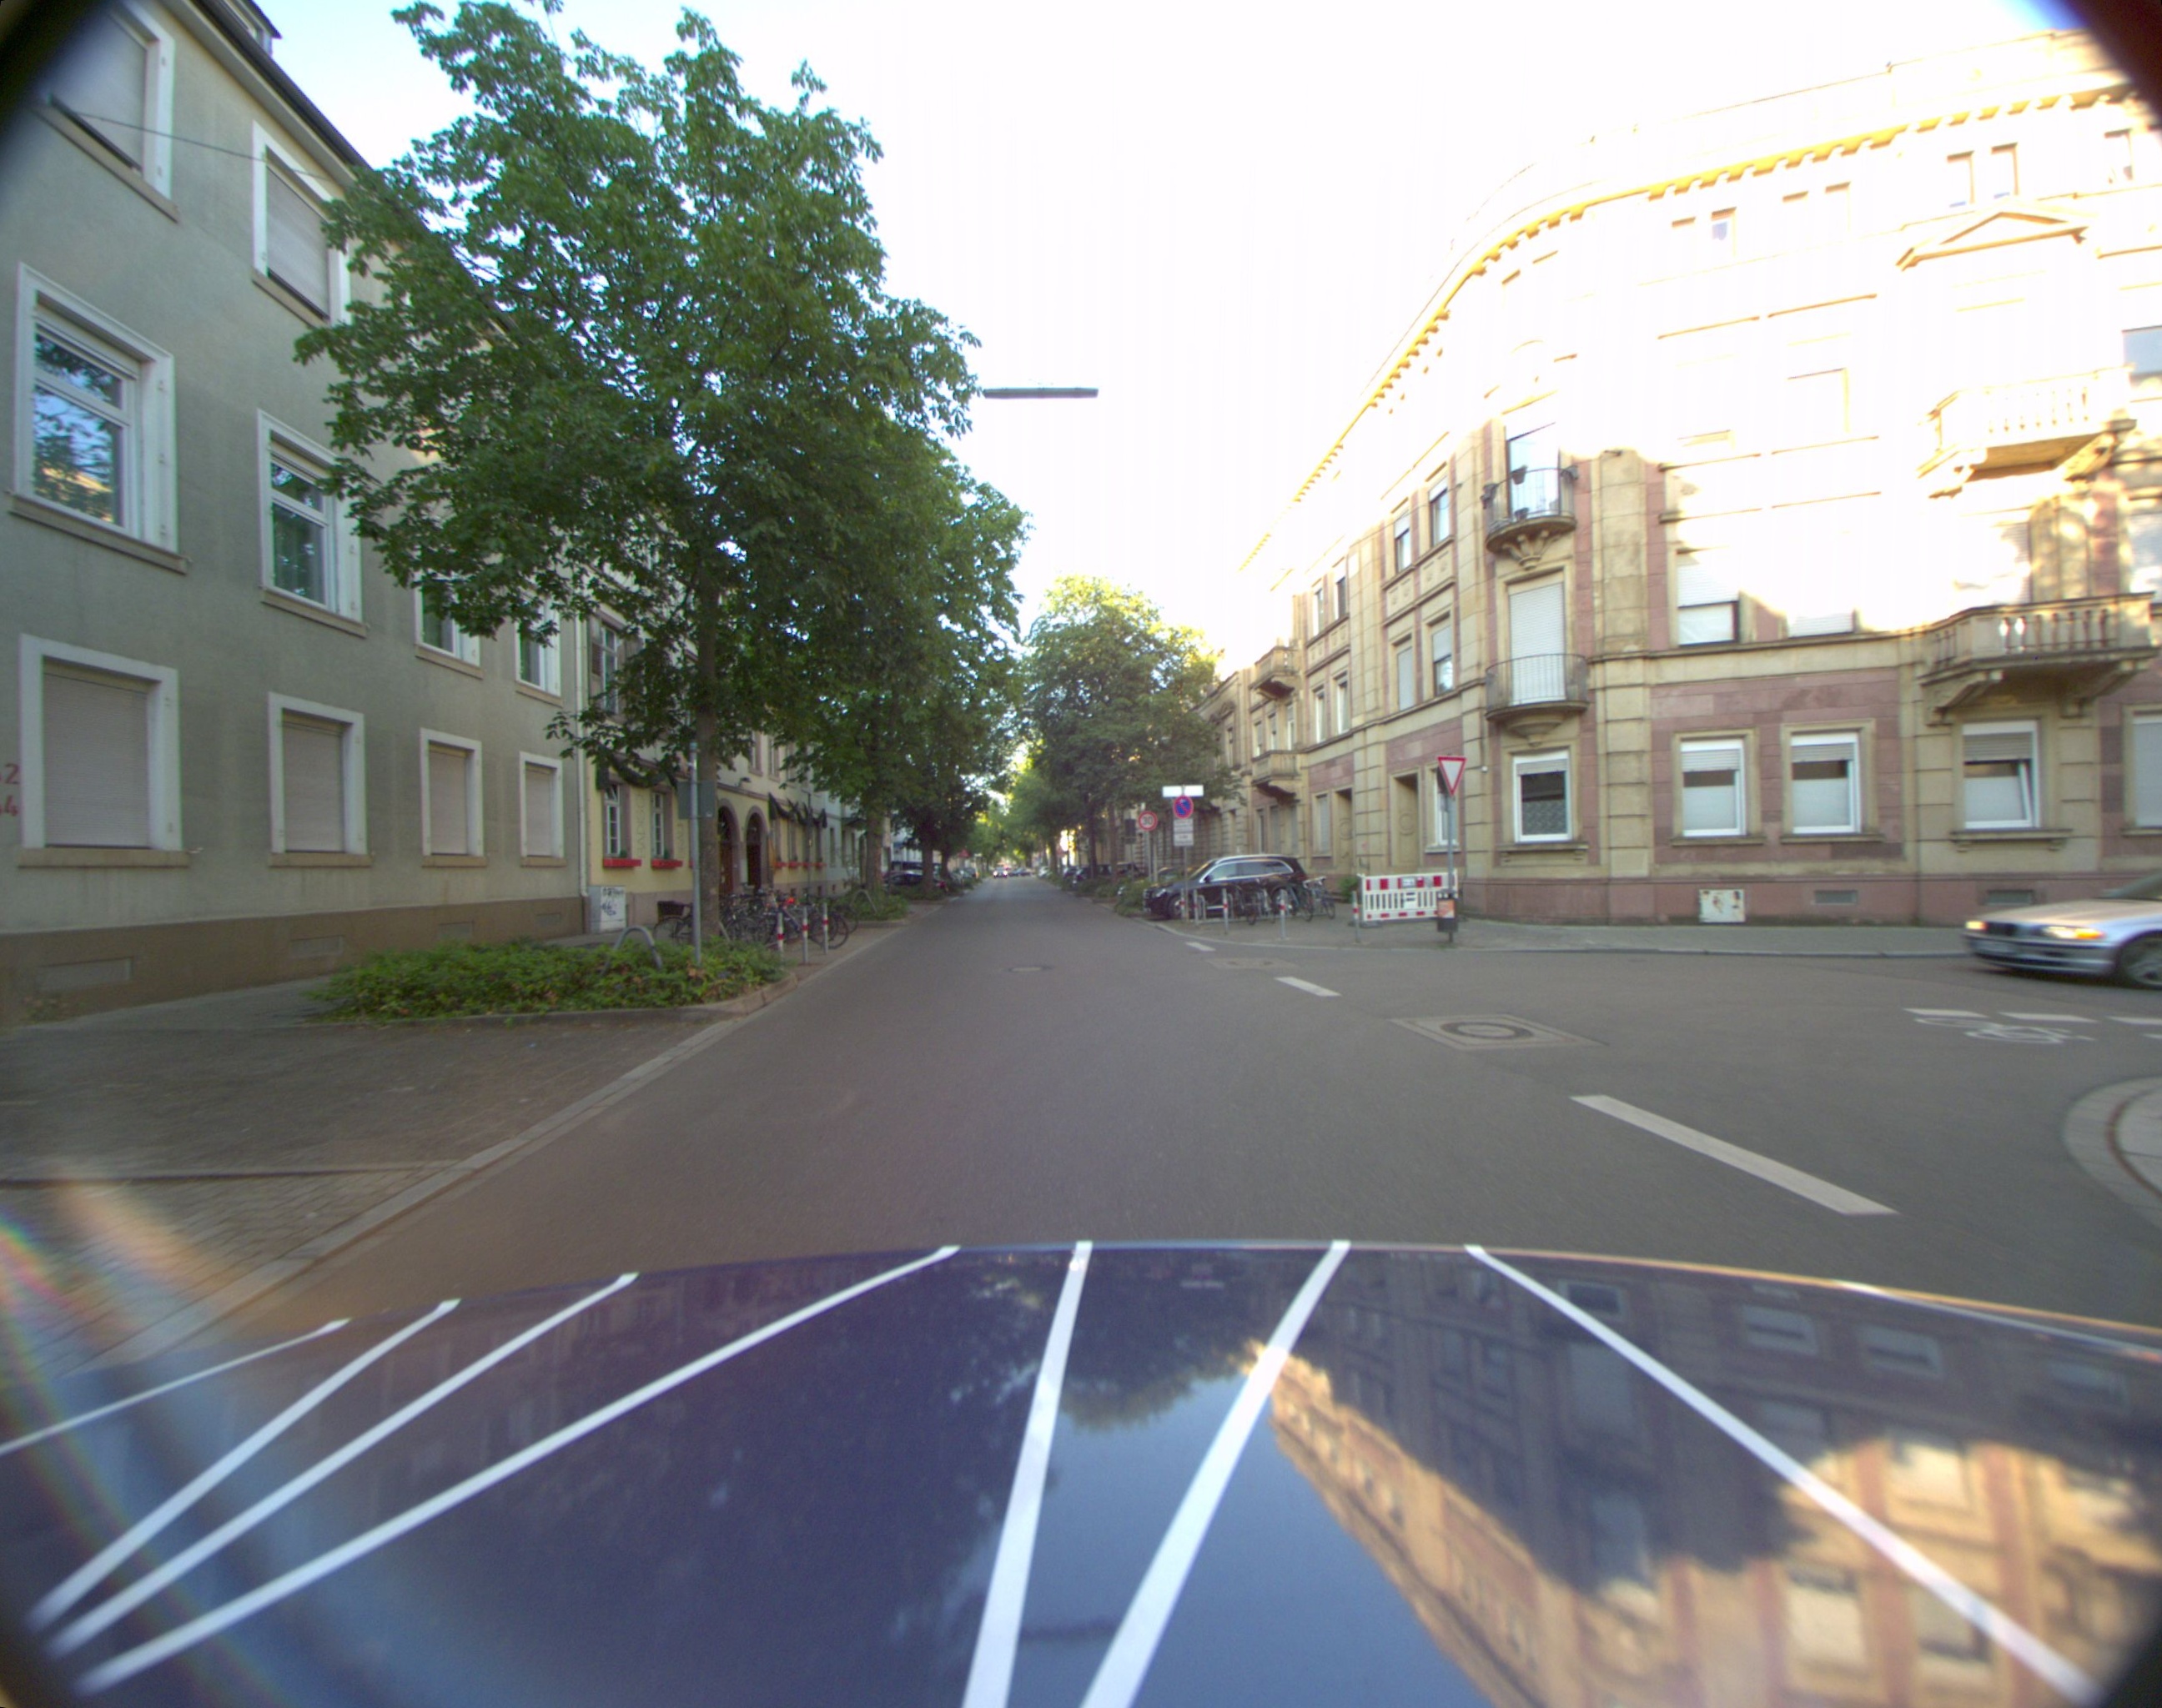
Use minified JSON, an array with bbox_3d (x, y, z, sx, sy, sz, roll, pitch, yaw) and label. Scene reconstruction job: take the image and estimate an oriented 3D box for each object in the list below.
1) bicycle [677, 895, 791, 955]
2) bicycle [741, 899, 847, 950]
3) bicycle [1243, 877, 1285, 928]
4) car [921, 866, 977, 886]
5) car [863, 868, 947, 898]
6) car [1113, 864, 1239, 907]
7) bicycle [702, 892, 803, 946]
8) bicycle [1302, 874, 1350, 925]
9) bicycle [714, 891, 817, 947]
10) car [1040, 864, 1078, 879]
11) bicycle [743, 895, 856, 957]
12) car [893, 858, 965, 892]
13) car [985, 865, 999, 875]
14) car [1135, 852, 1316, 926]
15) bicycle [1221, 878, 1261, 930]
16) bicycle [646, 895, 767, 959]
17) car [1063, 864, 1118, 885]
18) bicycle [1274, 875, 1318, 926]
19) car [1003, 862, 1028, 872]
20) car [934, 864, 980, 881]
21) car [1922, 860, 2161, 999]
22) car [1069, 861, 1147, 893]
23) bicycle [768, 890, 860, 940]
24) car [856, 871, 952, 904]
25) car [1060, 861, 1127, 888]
[{"bbox_3d":[-6.991,1.424,15.359,2.042,1.139,0.421,-1,0,-6],"label":"bicycle"},{"bbox_3d":[-6.073,1.487,16.147,2.042,0.998,0.421,-1,0,-6],"label":"bicycle"},{"bbox_3d":[4.412,1.139,18.427,0.364,1.083,1.869,-3,1,-5],"label":"bicycle"},{"bbox_3d":[-11.025,1.828,63.869,4.444,1.603,1.776,-1,-1,-4],"label":"car"},{"bbox_3d":[-10.079,1.660,43.651,4.444,1.603,1.776,-1,-1,-4],"label":"car"},{"bbox_3d":[3.554,1.175,28.889,4.444,1.478,1.776,-1,-1,-4],"label":"car"},{"bbox_3d":[-7.446,1.461,17.262,2.042,1.139,0.421,-1,0,-6],"label":"bicycle"},{"bbox_3d":[5.865,1.057,18.274,0.364,1.083,1.869,-3,1,-5],"label":"bicycle"},{"bbox_3d":[-6.886,1.419,16.639,2.042,1.139,0.421,-1,0,-6],"label":"bicycle"},{"bbox_3d":[-2.621,2.026,90.155,4.444,1.638,1.776,-1,-1,-4],"label":"car"},{"bbox_3d":[-5.537,1.406,15.008,2.041,1.139,0.446,-1,0,-4],"label":"bicycle"},{"bbox_3d":[-10.067,1.378,50.636,4.444,2.110,1.776,-1,0,-4],"label":"car"},{"bbox_3d":[-13.015,2.353,111.475,1.828,1.364,3.998,-1,-1,-5],"label":"car"},{"bbox_3d":[3.940,0.927,21.178,4.590,1.728,1.776,-3,1,-4],"label":"car"},{"bbox_3d":[3.807,1.168,18.164,0.364,1.083,1.869,-3,1,-5],"label":"bicycle"},{"bbox_3d":[-7.107,1.382,14.472,2.041,1.139,0.446,-1,0,-2],"label":"bicycle"},{"bbox_3d":[0.702,1.543,57.600,4.032,1.474,1.776,-1,-1,-4],"label":"car"},{"bbox_3d":[5.139,1.097,18.258,0.364,1.083,1.869,-3,1,-5],"label":"bicycle"},{"bbox_3d":[-10.427,2.048,121.640,1.772,1.523,4.029,-2,-1,34],"label":"car"},{"bbox_3d":[-12.522,1.903,77.008,4.444,1.603,1.776,-1,-1,-4],"label":"car"},{"bbox_3d":[12.447,0.758,8.059,4.462,1.395,1.685,-1,-2,17],"label":"car"},{"bbox_3d":[1.549,1.344,44.976,4.444,1.728,1.776,-1,-1,-4],"label":"car"},{"bbox_3d":[-6.457,1.464,18.417,2.042,1.139,0.421,-1,0,-6],"label":"bicycle"},{"bbox_3d":[-8.880,1.685,38.341,4.444,1.496,1.776,-1,-1,-4],"label":"car"},{"bbox_3d":[0.831,1.411,51.960,4.444,1.728,1.776,-1,-1,-4],"label":"car"}]
